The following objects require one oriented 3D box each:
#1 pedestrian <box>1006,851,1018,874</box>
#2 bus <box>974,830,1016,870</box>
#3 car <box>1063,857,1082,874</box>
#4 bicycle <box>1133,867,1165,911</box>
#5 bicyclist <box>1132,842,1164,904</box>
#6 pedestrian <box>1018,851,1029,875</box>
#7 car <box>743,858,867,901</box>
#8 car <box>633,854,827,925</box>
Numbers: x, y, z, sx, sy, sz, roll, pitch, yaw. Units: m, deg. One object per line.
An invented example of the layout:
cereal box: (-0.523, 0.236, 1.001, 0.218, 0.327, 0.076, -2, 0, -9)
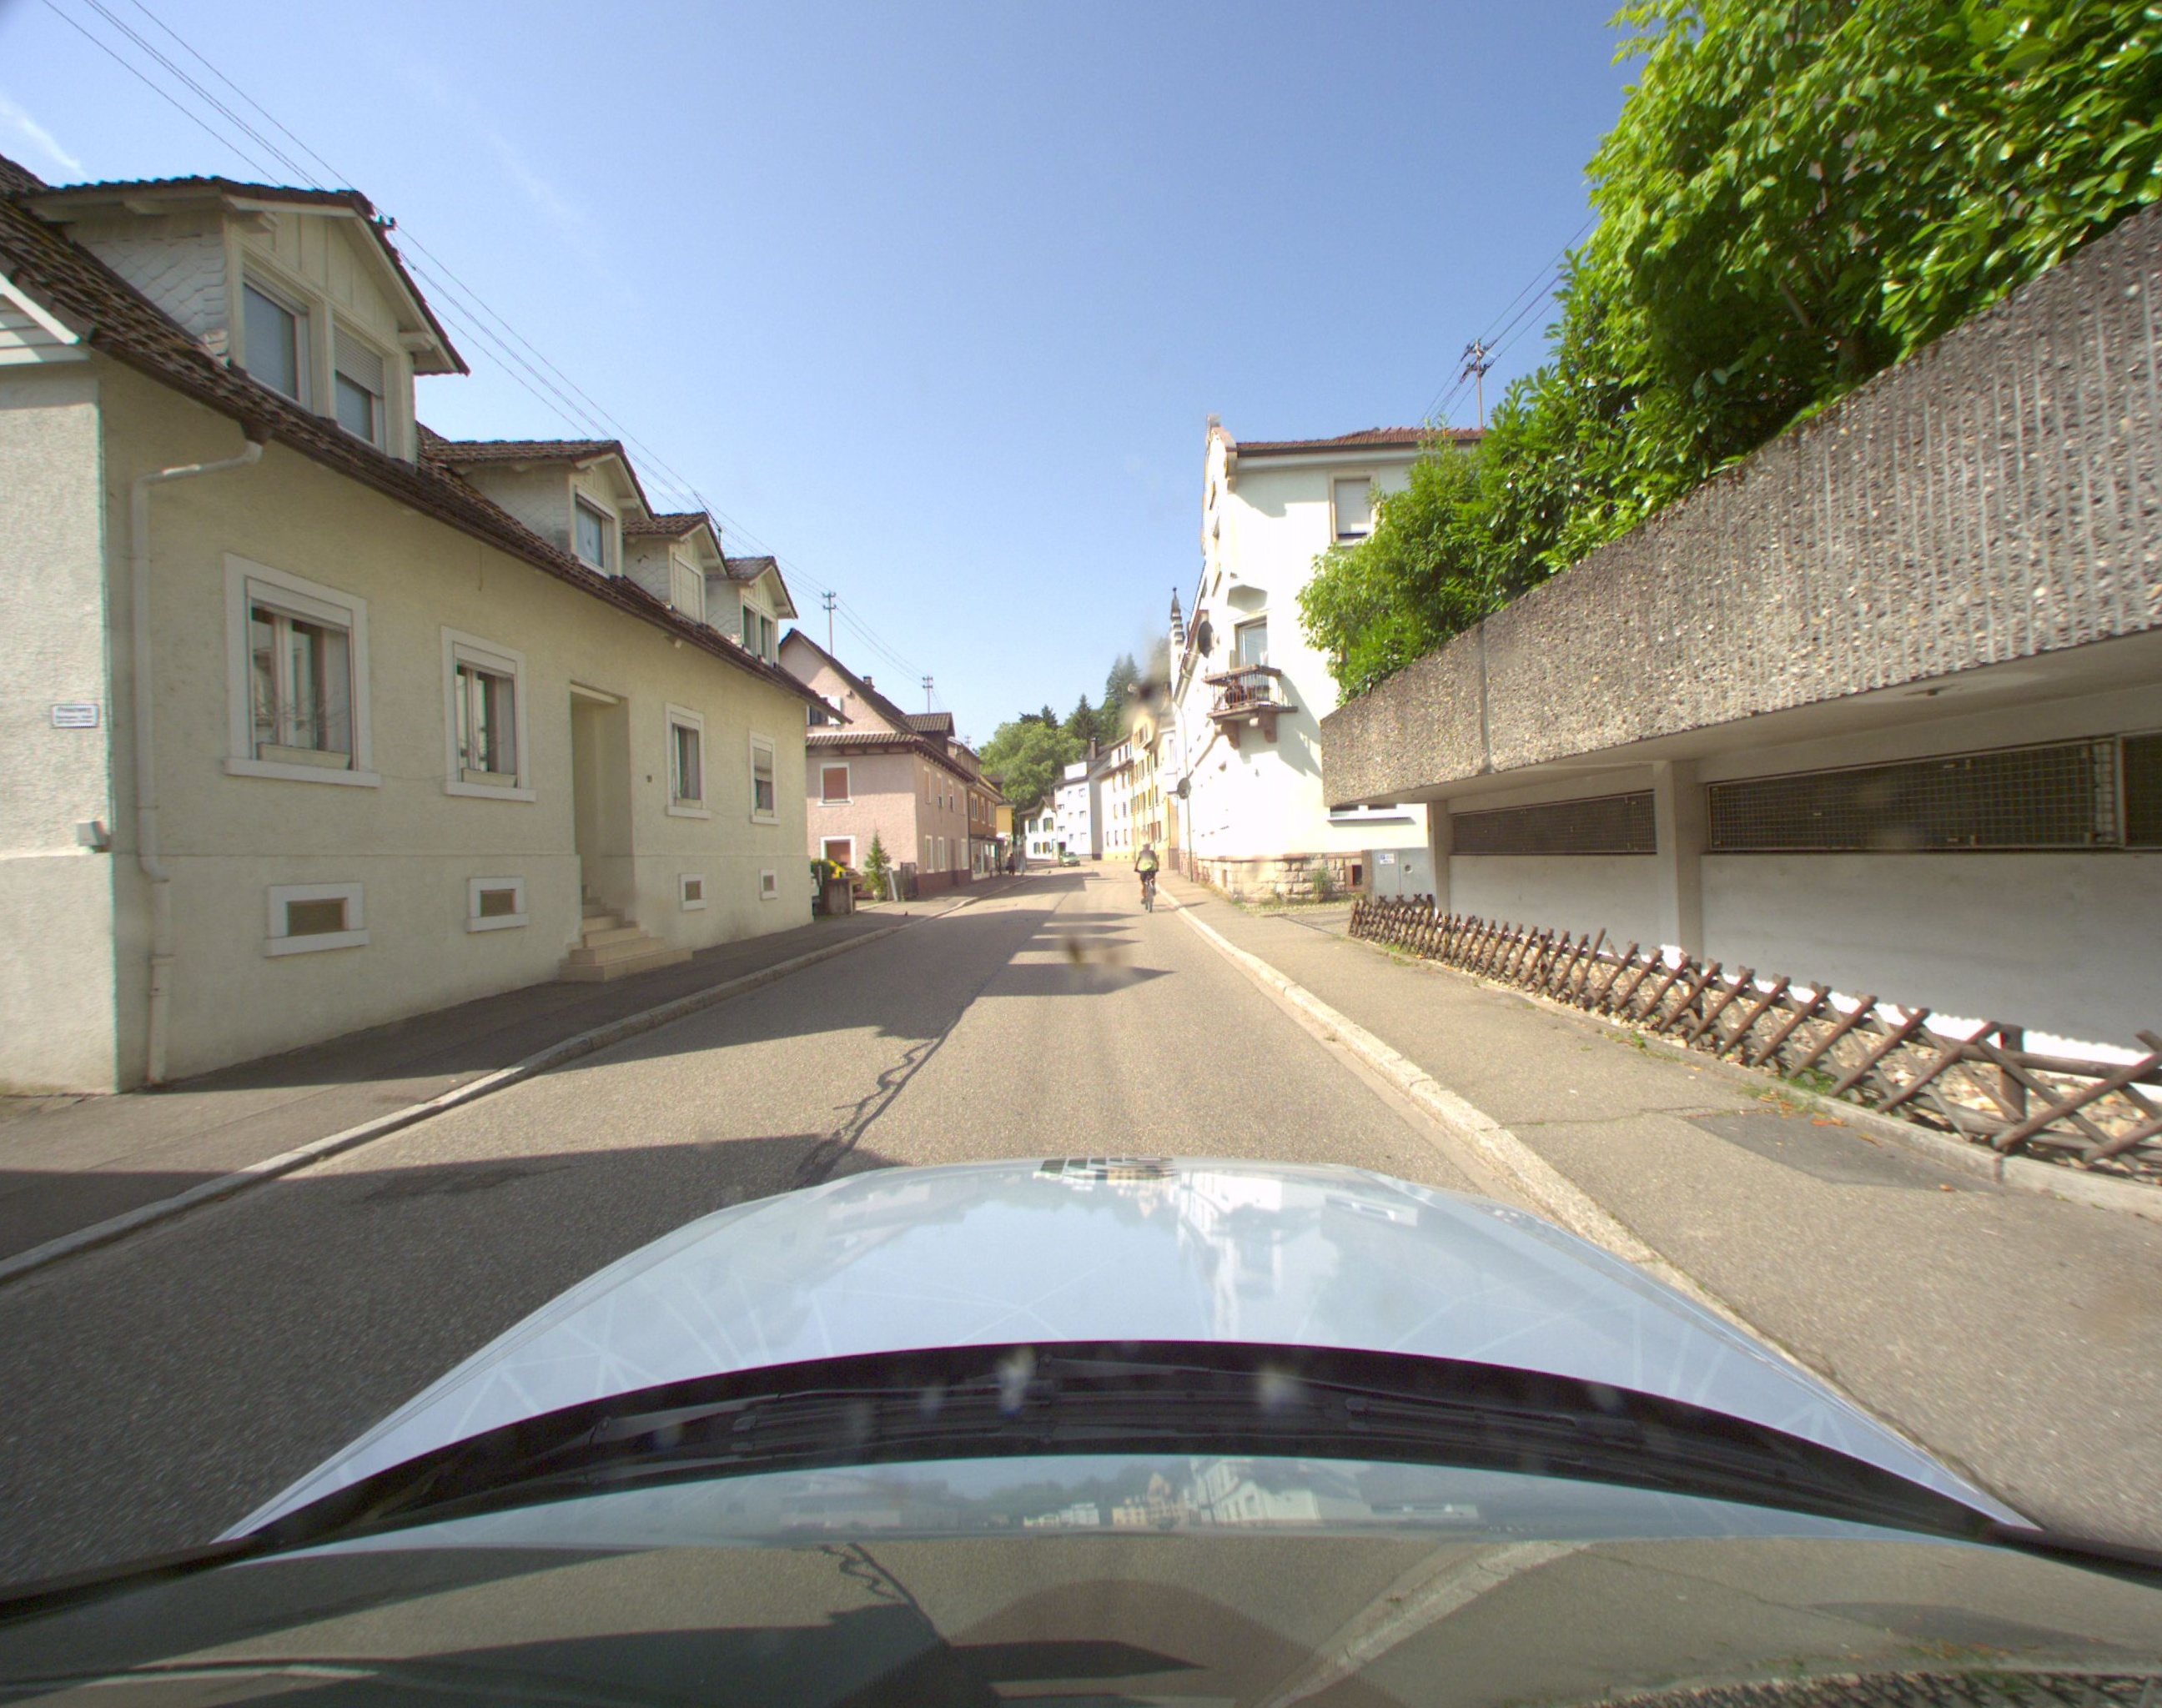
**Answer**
pedestrian: (-4.709, 0.578, 55.754, 0.732, 1.564, 0.825, 1, 0, 2)
bus: (-7.251, -0.329, 70.091, 2.812, 3.228, 9.031, -1, 0, -1)
car: (-0.816, 1.060, 77.179, 1.593, 1.464, 3.656, -5, 0, -3)
bicycle: (1.724, 0.874, 20.831, 0.696, 1.035, 1.471, -1, 0, 0)
bicyclist: (1.704, 0.475, 20.685, 0.683, 1.531, 0.715, -3, 0, 0)
pedestrian: (-3.959, 0.588, 55.729, 0.637, 1.626, 0.777, 1, 0, 2)
car: (-9.596, 0.863, 28.480, 3.740, 1.392, 1.645, -1, 1, -2)
car: (-8.625, 0.839, 20.299, 3.976, 1.594, 1.906, -1, 0, -2)
